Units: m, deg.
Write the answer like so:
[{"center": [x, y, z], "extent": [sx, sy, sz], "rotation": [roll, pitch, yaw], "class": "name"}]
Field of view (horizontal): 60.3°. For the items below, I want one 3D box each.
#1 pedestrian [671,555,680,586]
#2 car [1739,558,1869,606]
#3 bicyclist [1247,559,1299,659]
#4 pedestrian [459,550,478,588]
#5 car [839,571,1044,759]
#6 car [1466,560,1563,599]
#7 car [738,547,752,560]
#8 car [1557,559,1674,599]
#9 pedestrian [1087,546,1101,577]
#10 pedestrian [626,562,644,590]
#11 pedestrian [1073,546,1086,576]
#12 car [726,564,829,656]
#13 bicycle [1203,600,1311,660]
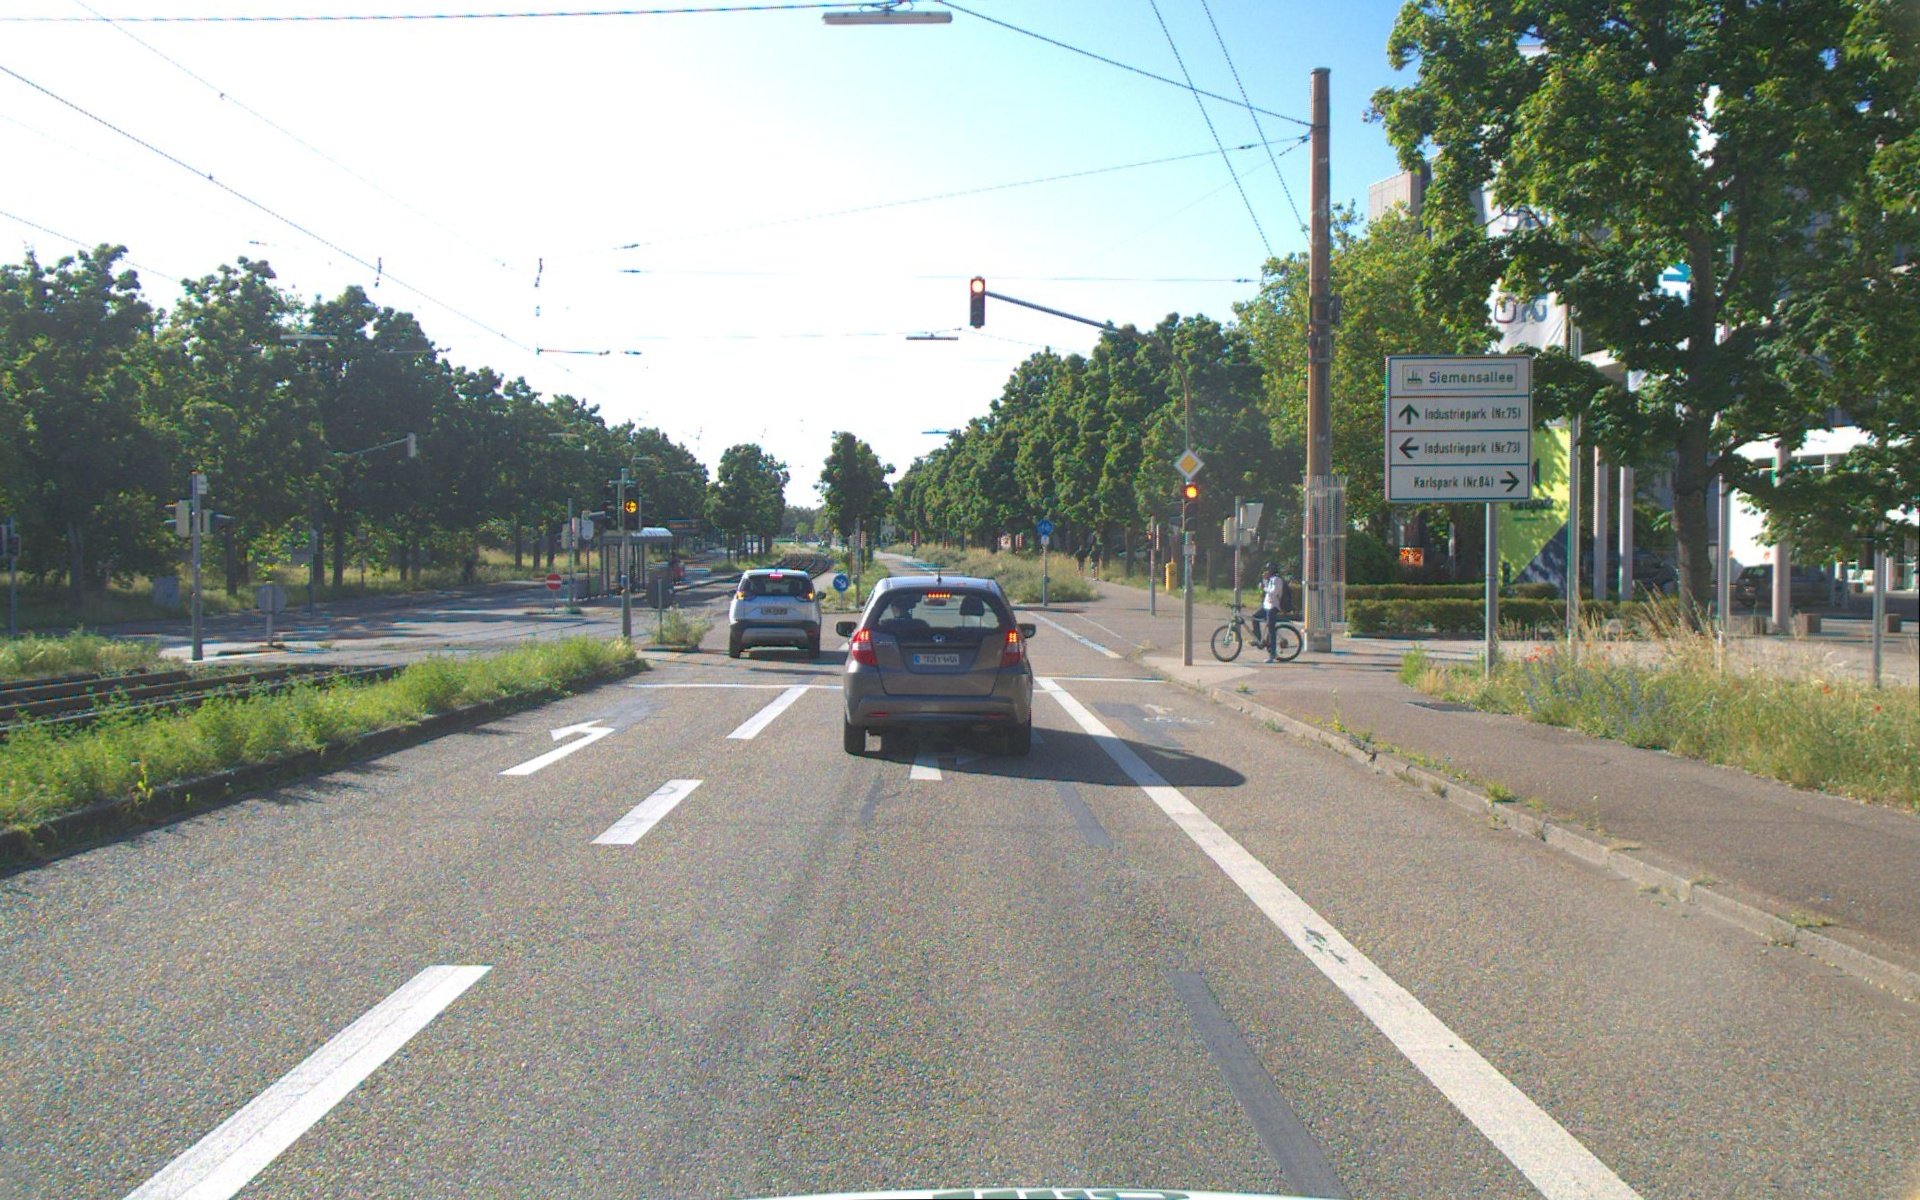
[{"center": [-15.600, -1.629, 90.662], "extent": [0.493, 1.705, 0.387], "rotation": [0, 1, -12], "class": "pedestrian"}, {"center": [31.132, -0.666, 61.067], "extent": [3.914, 1.750, 1.896], "rotation": [0, 1, -10], "class": "car"}, {"center": [5.683, 0.162, 30.092], "extent": [0.890, 1.775, 0.765], "rotation": [-1, 0, 10], "class": "bicyclist"}, {"center": [-27.186, -1.712, 91.489], "extent": [0.823, 2.049, 0.863], "rotation": [0, 1, -2], "class": "pedestrian"}, {"center": [-0.152, 0.511, 15.694], "extent": [1.672, 1.535, 4.000], "rotation": [1, 1, 0], "class": "car"}, {"center": [26.154, -0.983, 78.096], "extent": [3.918, 1.788, 1.993], "rotation": [0, 1, -13], "class": "car"}, {"center": [-32.264, -6.947, 247.897], "extent": [1.731, 1.768, 3.998], "rotation": [0, 1, -3], "class": "car"}, {"center": [28.222, -0.901, 71.224], "extent": [4.458, 1.658, 1.870], "rotation": [0, 1, -13], "class": "car"}, {"center": [7.298, -2.088, 90.215], "extent": [0.664, 1.638, 0.720], "rotation": [1, 0, -3], "class": "pedestrian"}, {"center": [-14.968, -1.100, 76.118], "extent": [0.706, 1.267, 0.710], "rotation": [-1, 1, -3], "class": "pedestrian"}, {"center": [6.520, -2.140, 90.169], "extent": [0.556, 1.624, 0.665], "rotation": [1, 0, -4], "class": "pedestrian"}, {"center": [-3.534, 0.153, 31.725], "extent": [1.816, 1.634, 4.248], "rotation": [0, 1, -7], "class": "car"}, {"center": [5.404, 0.545, 30.145], "extent": [1.879, 1.015, 0.765], "rotation": [-2, 0, 10], "class": "bicycle"}]
